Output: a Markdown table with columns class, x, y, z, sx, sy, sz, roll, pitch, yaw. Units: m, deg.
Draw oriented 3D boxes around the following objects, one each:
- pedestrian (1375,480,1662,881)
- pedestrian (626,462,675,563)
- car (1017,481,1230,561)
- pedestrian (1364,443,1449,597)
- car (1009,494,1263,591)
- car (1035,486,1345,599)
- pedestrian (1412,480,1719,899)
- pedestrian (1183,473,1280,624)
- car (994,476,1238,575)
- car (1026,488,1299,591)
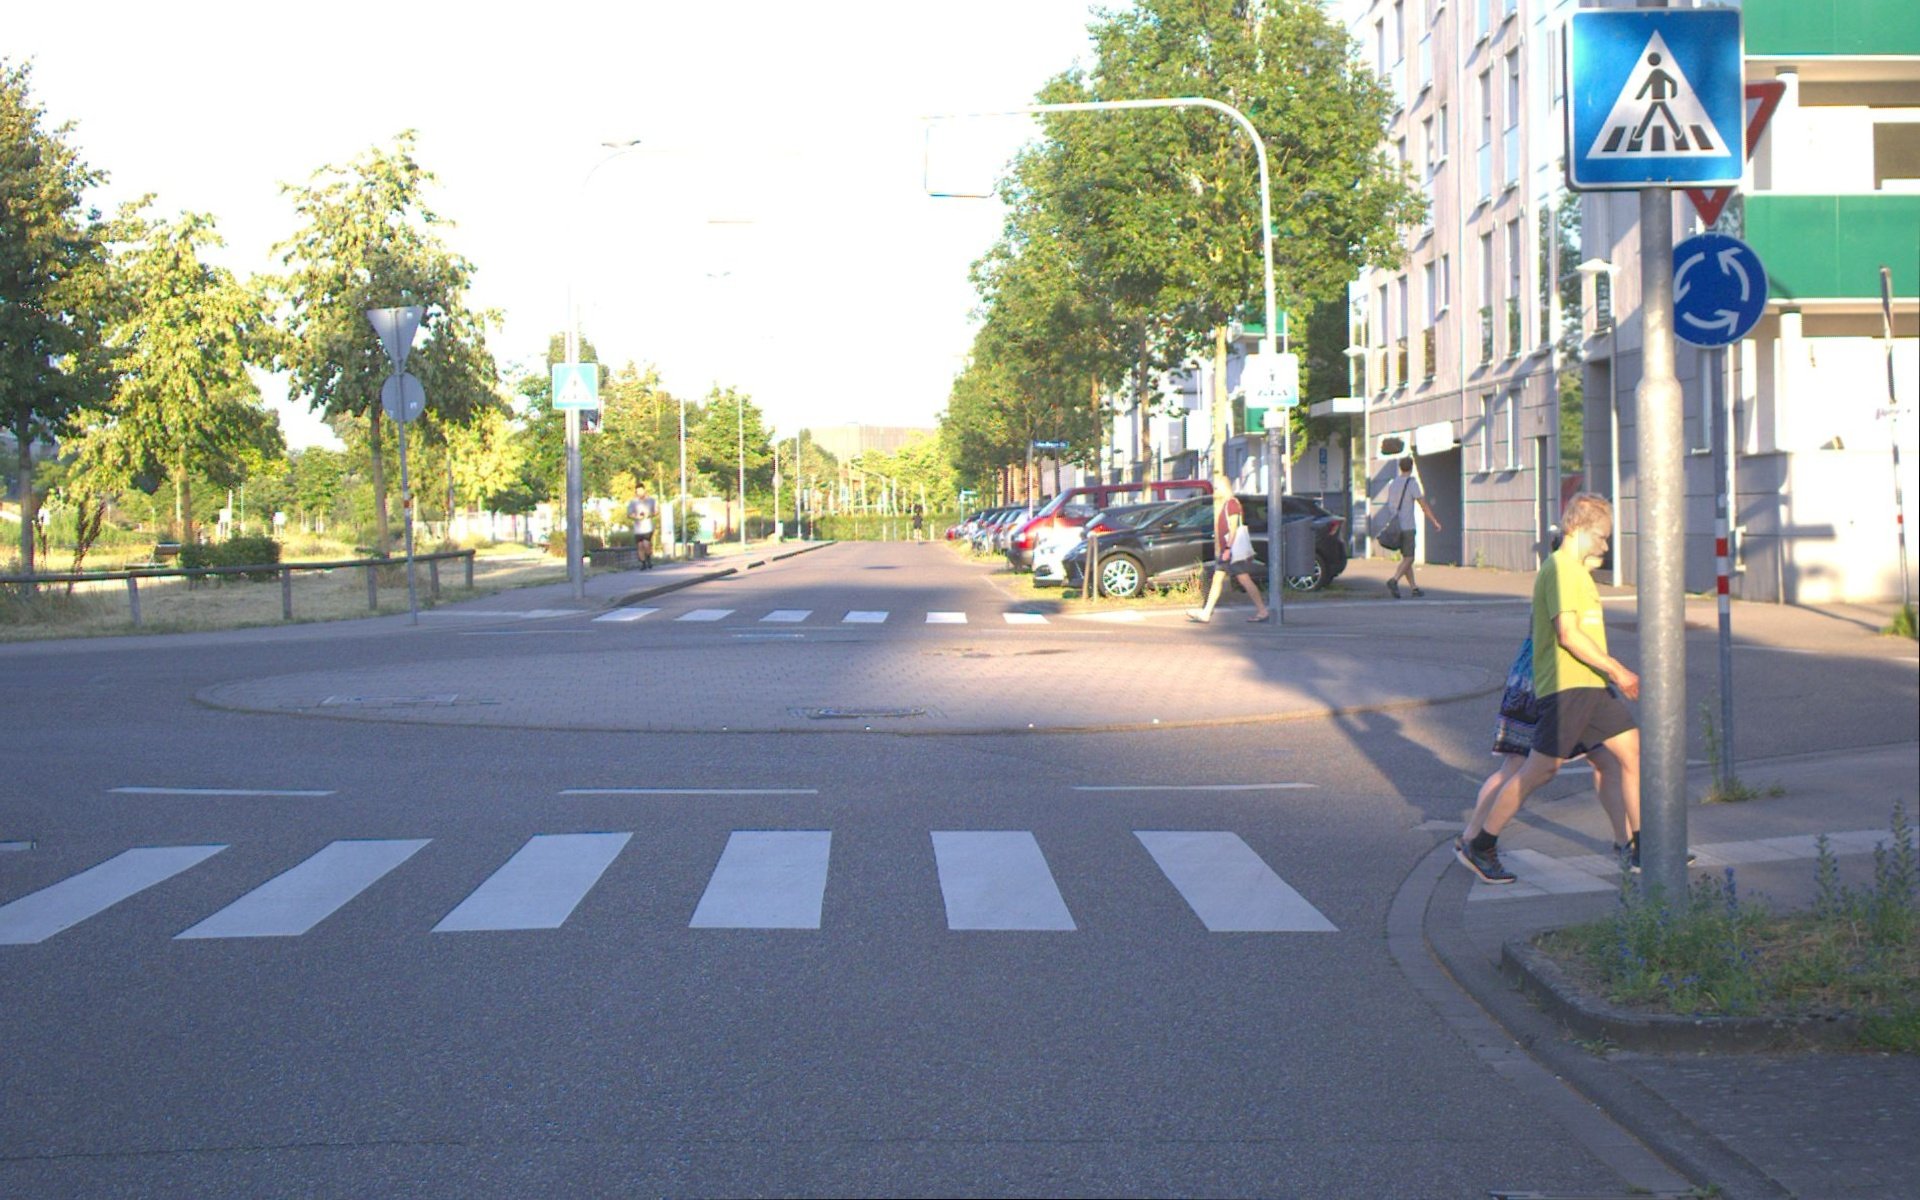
| class | x | y | z | sx | sy | sz | roll | pitch | yaw |
| --- | --- | --- | --- | --- | --- | --- | --- | --- | --- |
| pedestrian | 2.493 | 0.341 | 15.405 | 0.983 | 1.687 | 0.700 | -4 | 2 | -12 |
| pedestrian | -6.240 | -1.756 | 69.247 | 0.866 | 2.007 | 0.790 | -1 | 1 | -11 |
| car | 3.371 | -1.645 | 71.306 | 4.263 | 1.590 | 2.000 | -1 | 1 | -1 |
| pedestrian | 5.924 | -1.066 | 45.639 | 0.940 | 2.007 | 0.849 | -1 | 1 | -5 |
| car | 2.990 | -0.995 | 59.091 | 4.263 | 1.590 | 2.000 | -1 | 1 | 1 |
| car | 3.377 | -0.871 | 51.208 | 4.484 | 1.590 | 2.000 | -1 | 1 | 1 |
| pedestrian | 2.576 | 0.360 | 14.688 | 1.018 | 1.687 | 0.760 | -3 | 2 | -11 |
| pedestrian | 3.244 | -0.621 | 41.108 | 1.003 | 1.782 | 0.762 | 0 | 1 | -7 |
| car | 3.342 | -1.623 | 74.363 | 5.002 | 2.038 | 2.251 | -1 | 1 | -5 |
| car | 3.279 | -0.999 | 56.358 | 4.355 | 1.590 | 2.000 | -1 | 1 | 1 |
